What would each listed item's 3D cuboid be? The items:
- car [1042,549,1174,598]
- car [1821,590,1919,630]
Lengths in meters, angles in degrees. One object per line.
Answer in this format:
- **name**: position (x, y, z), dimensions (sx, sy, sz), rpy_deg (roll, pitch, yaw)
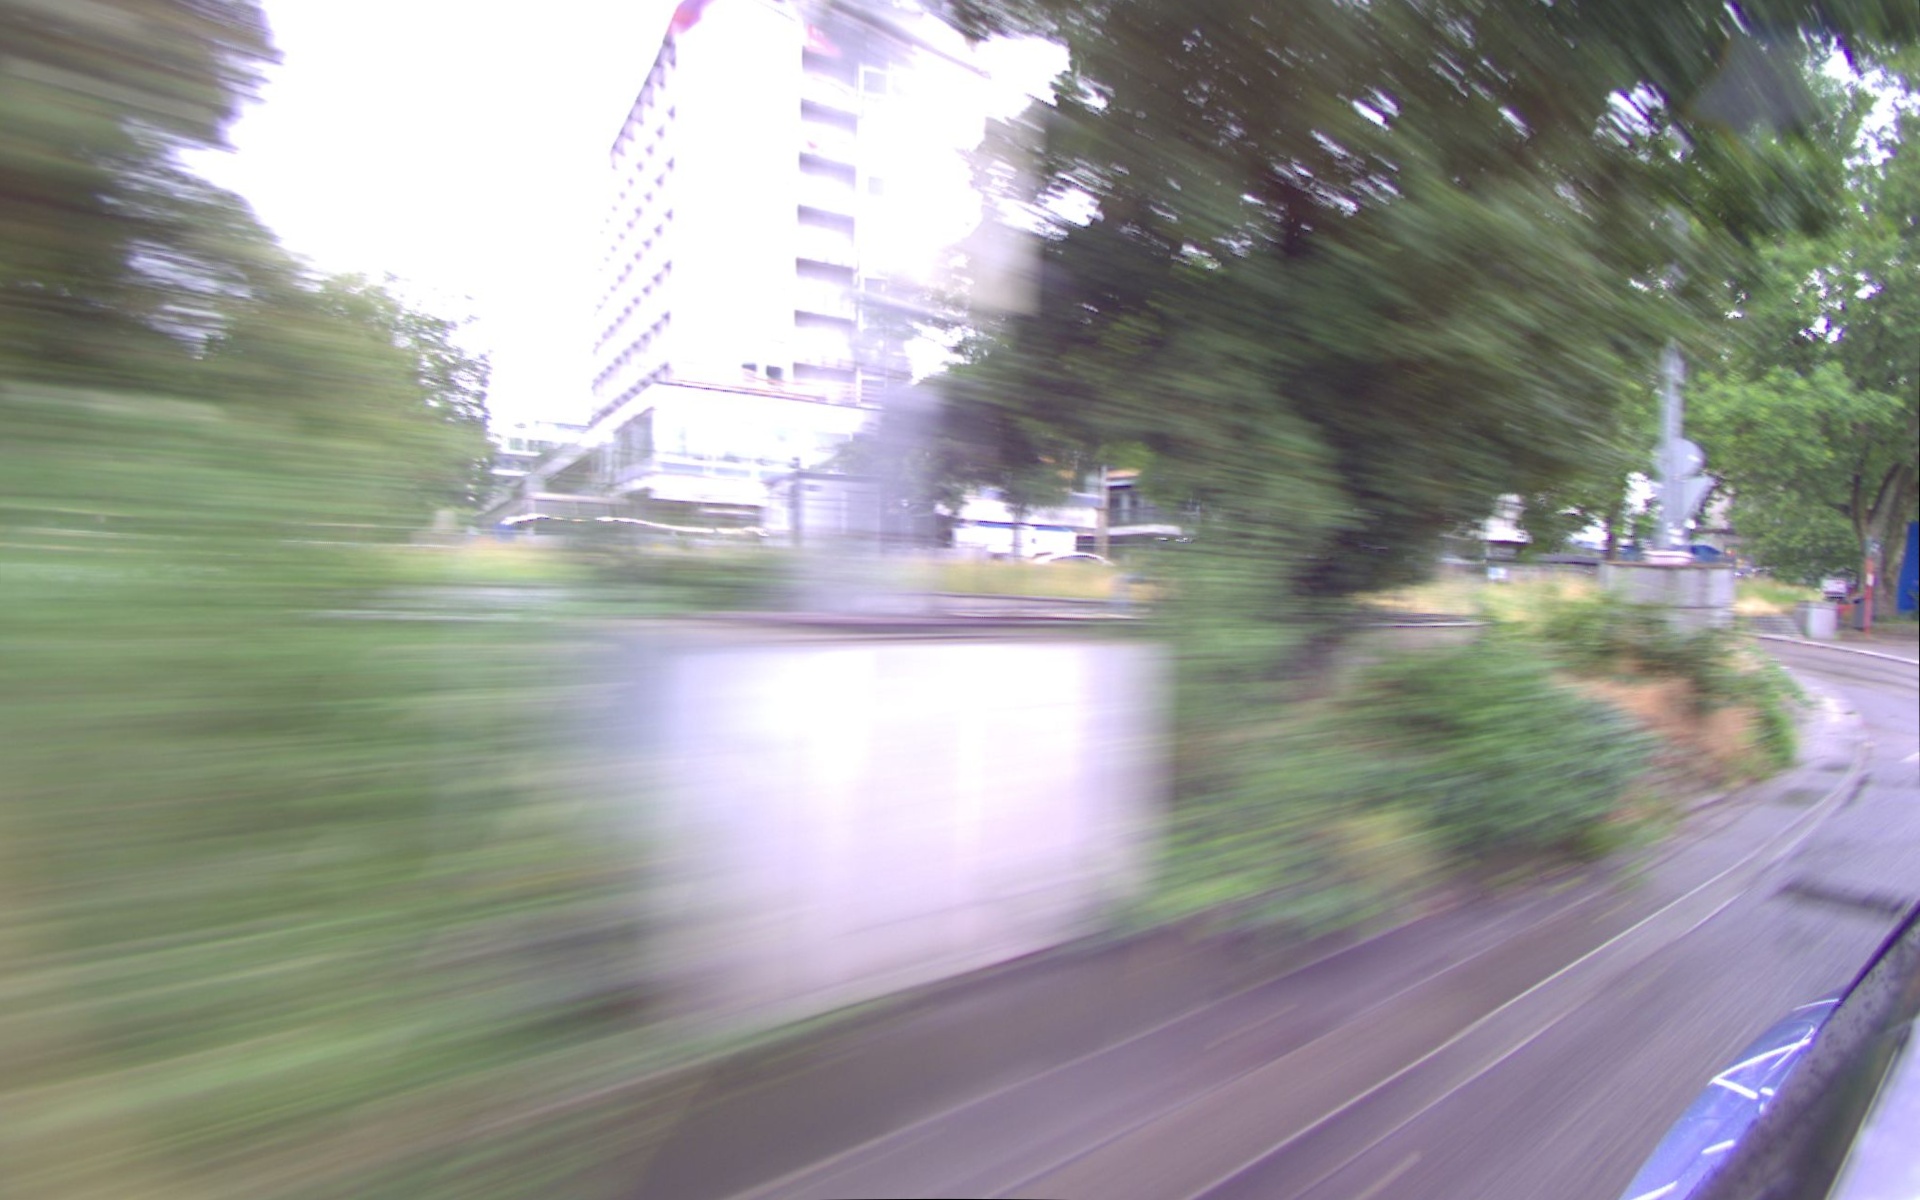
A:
- **car**: position (5.593, -1.028, 38.128), dimensions (4.691, 1.649, 1.991), rpy_deg (2, 2, 15)
- **car**: position (38.335, 0.379, 42.179), dimensions (1.672, 1.473, 3.995), rpy_deg (2, 2, 6)
